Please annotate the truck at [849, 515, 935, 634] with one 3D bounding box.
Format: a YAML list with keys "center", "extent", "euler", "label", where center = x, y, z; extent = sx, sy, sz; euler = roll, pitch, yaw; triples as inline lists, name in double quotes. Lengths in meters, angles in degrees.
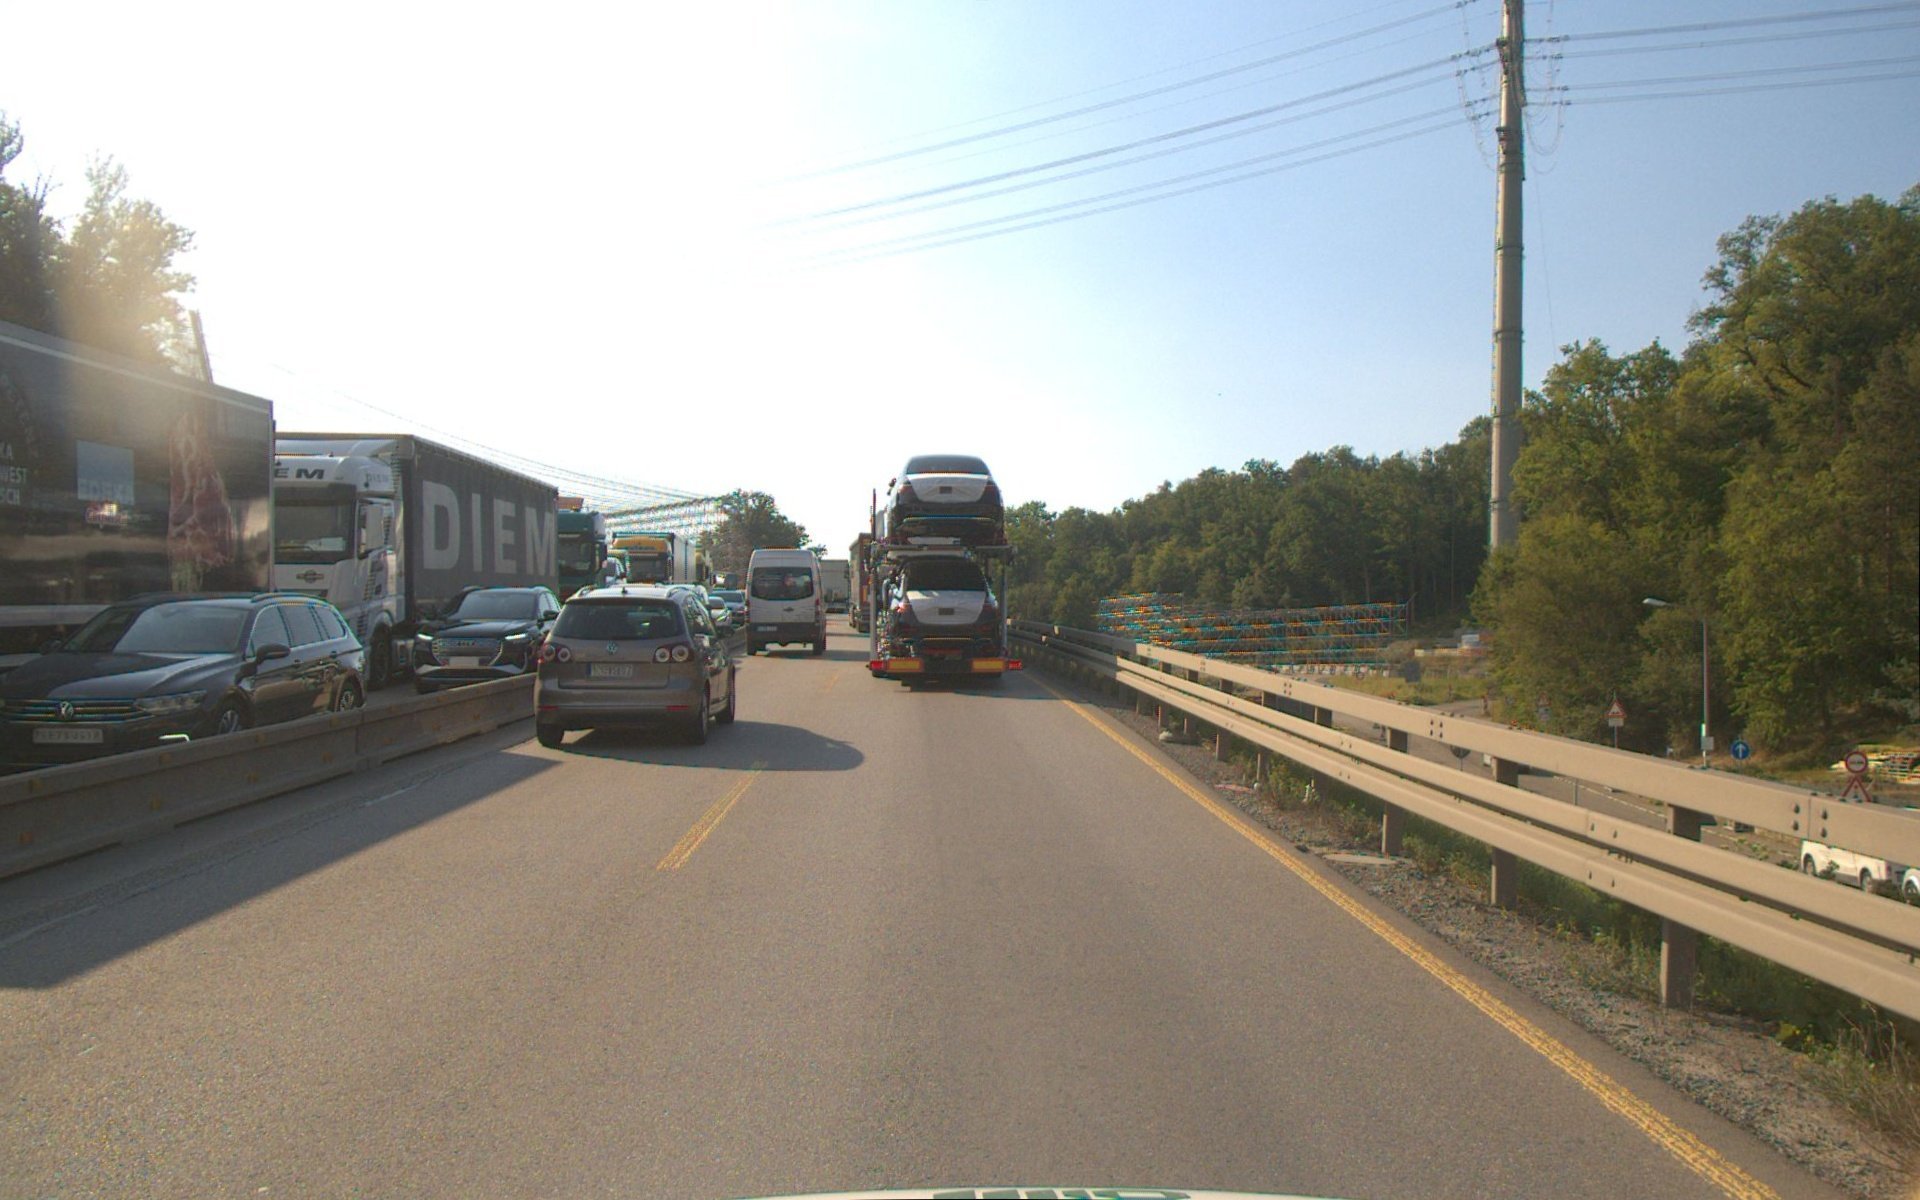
- center: [-3.131, -1.086, 72.208]
  extent: [3.165, 4.758, 11.682]
  euler: [0, 1, -5]
  label: "truck"

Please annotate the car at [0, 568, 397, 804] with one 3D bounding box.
- center: [-6.543, 0.660, 14.161]
  extent: [1.825, 1.614, 4.744]
  euler: [3, -2, -1]
  label: "car"

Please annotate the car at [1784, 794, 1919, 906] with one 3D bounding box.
- center: [20.922, 5.662, 37.975]
  extent: [1.823, 2.021, 5.054]
  euler: [-1, -3, 5]
  label: "car"

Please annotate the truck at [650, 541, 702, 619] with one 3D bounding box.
- center: [-15.975, -1.084, 93.221]
  extent: [2.643, 4.270, 4.391]
  euler: [0, -1, -7]
  label: "truck"

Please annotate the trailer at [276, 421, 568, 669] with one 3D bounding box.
- center: [-10.675, -0.922, 34.505]
  extent: [2.661, 4.195, 12.483]
  euler: [-1, 0, -4]
  label: "trailer"

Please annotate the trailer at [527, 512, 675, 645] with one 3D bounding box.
- center: [-12.023, -0.616, 57.094]
  extent: [2.695, 3.882, 16.032]
  euler: [-1, 0, -4]
  label: "trailer"

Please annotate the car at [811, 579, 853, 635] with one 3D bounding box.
- center: [-4.927, 0.284, 63.989]
  extent: [1.498, 2.049, 3.996]
  euler: [2, -1, -4]
  label: "car"

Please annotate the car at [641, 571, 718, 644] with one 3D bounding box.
- center: [-8.264, 0.259, 49.117]
  extent: [1.788, 1.967, 5.124]
  euler: [-3, -1, -5]
  label: "car"

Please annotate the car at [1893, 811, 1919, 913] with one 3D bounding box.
- center: [20.080, 5.252, 31.844]
  extent: [1.953, 1.951, 4.866]
  euler: [-1, -3, 7]
  label: "car"

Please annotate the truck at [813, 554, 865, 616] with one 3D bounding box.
- center: [-9.586, -1.201, 132.284]
  extent: [3.575, 4.758, 11.691]
  euler: [0, 1, -2]
  label: "truck"

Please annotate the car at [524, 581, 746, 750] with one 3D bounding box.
- center: [-3.400, 0.654, 18.014]
  extent: [1.666, 1.615, 4.146]
  euler: [0, -1, -1]
  label: "car"

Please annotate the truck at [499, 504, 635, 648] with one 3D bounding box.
- center: [-11.405, -0.647, 48.600]
  extent: [2.695, 3.872, 7.105]
  euler: [-1, 0, -4]
  label: "truck"

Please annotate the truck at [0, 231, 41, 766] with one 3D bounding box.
- center: [-9.618, -0.894, 12.269]
  extent: [2.861, 4.593, 5.025]
  euler: [0, -1, -2]
  label: "truck"

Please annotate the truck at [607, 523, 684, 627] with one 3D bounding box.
- center: [-13.260, -0.967, 70.097]
  extent: [2.649, 4.213, 5.787]
  euler: [0, -1, -6]
  label: "truck"

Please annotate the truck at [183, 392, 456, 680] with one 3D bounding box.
- center: [-10.180, -0.940, 26.845]
  extent: [2.695, 4.187, 5.026]
  euler: [-1, 0, -4]
  label: "truck"

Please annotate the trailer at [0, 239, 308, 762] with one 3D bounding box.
- center: [-9.812, -0.851, 17.854]
  extent: [2.853, 4.544, 7.149]
  euler: [1, -1, -2]
  label: "trailer"

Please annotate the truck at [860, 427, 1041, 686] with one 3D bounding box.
- center: [-0.313, -0.653, 28.827]
  extent: [2.813, 4.050, 5.767]
  euler: [0, -1, -4]
  label: "truck"

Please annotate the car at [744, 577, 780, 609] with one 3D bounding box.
- center: [-11.291, -0.383, 94.595]
  extent: [1.889, 1.731, 4.685]
  euler: [0, -1, -5]
  label: "car"

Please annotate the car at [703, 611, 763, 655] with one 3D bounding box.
- center: [-8.460, 1.203, 61.921]
  extent: [1.767, 1.548, 4.813]
  euler: [-1, 0, -3]
  label: "car"

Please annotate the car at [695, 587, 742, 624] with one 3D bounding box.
- center: [-11.211, 0.275, 77.046]
  extent: [1.921, 1.673, 4.842]
  euler: [0, -1, -5]
  label: "car"

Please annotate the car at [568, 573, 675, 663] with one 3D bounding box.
- center: [-7.946, 0.449, 39.212]
  extent: [1.796, 1.998, 4.895]
  euler: [0, -1, -3]
  label: "car"

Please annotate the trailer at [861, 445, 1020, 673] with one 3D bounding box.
- center: [-0.801, -0.639, 37.238]
  extent: [2.817, 4.064, 15.267]
  euler: [0, -1, -3]
  label: "trailer"

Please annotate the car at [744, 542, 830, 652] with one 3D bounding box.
- center: [-4.465, -0.050, 43.234]
  extent: [1.939, 2.731, 4.145]
  euler: [0, -1, -2]
  label: "car"

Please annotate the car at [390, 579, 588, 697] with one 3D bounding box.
- center: [-7.372, 0.568, 26.442]
  extent: [1.839, 1.633, 5.365]
  euler: [-2, 0, -3]
  label: "car"

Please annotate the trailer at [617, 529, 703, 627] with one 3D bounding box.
- center: [-14.183, -0.840, 79.340]
  extent: [2.662, 4.207, 16.730]
  euler: [0, -1, -6]
  label: "trailer"

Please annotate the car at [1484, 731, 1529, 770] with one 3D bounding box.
- center: [25.930, 7.130, 78.597]
  extent: [1.493, 1.486, 4.271]
  euler: [-1, -1, 11]
  label: "car"
